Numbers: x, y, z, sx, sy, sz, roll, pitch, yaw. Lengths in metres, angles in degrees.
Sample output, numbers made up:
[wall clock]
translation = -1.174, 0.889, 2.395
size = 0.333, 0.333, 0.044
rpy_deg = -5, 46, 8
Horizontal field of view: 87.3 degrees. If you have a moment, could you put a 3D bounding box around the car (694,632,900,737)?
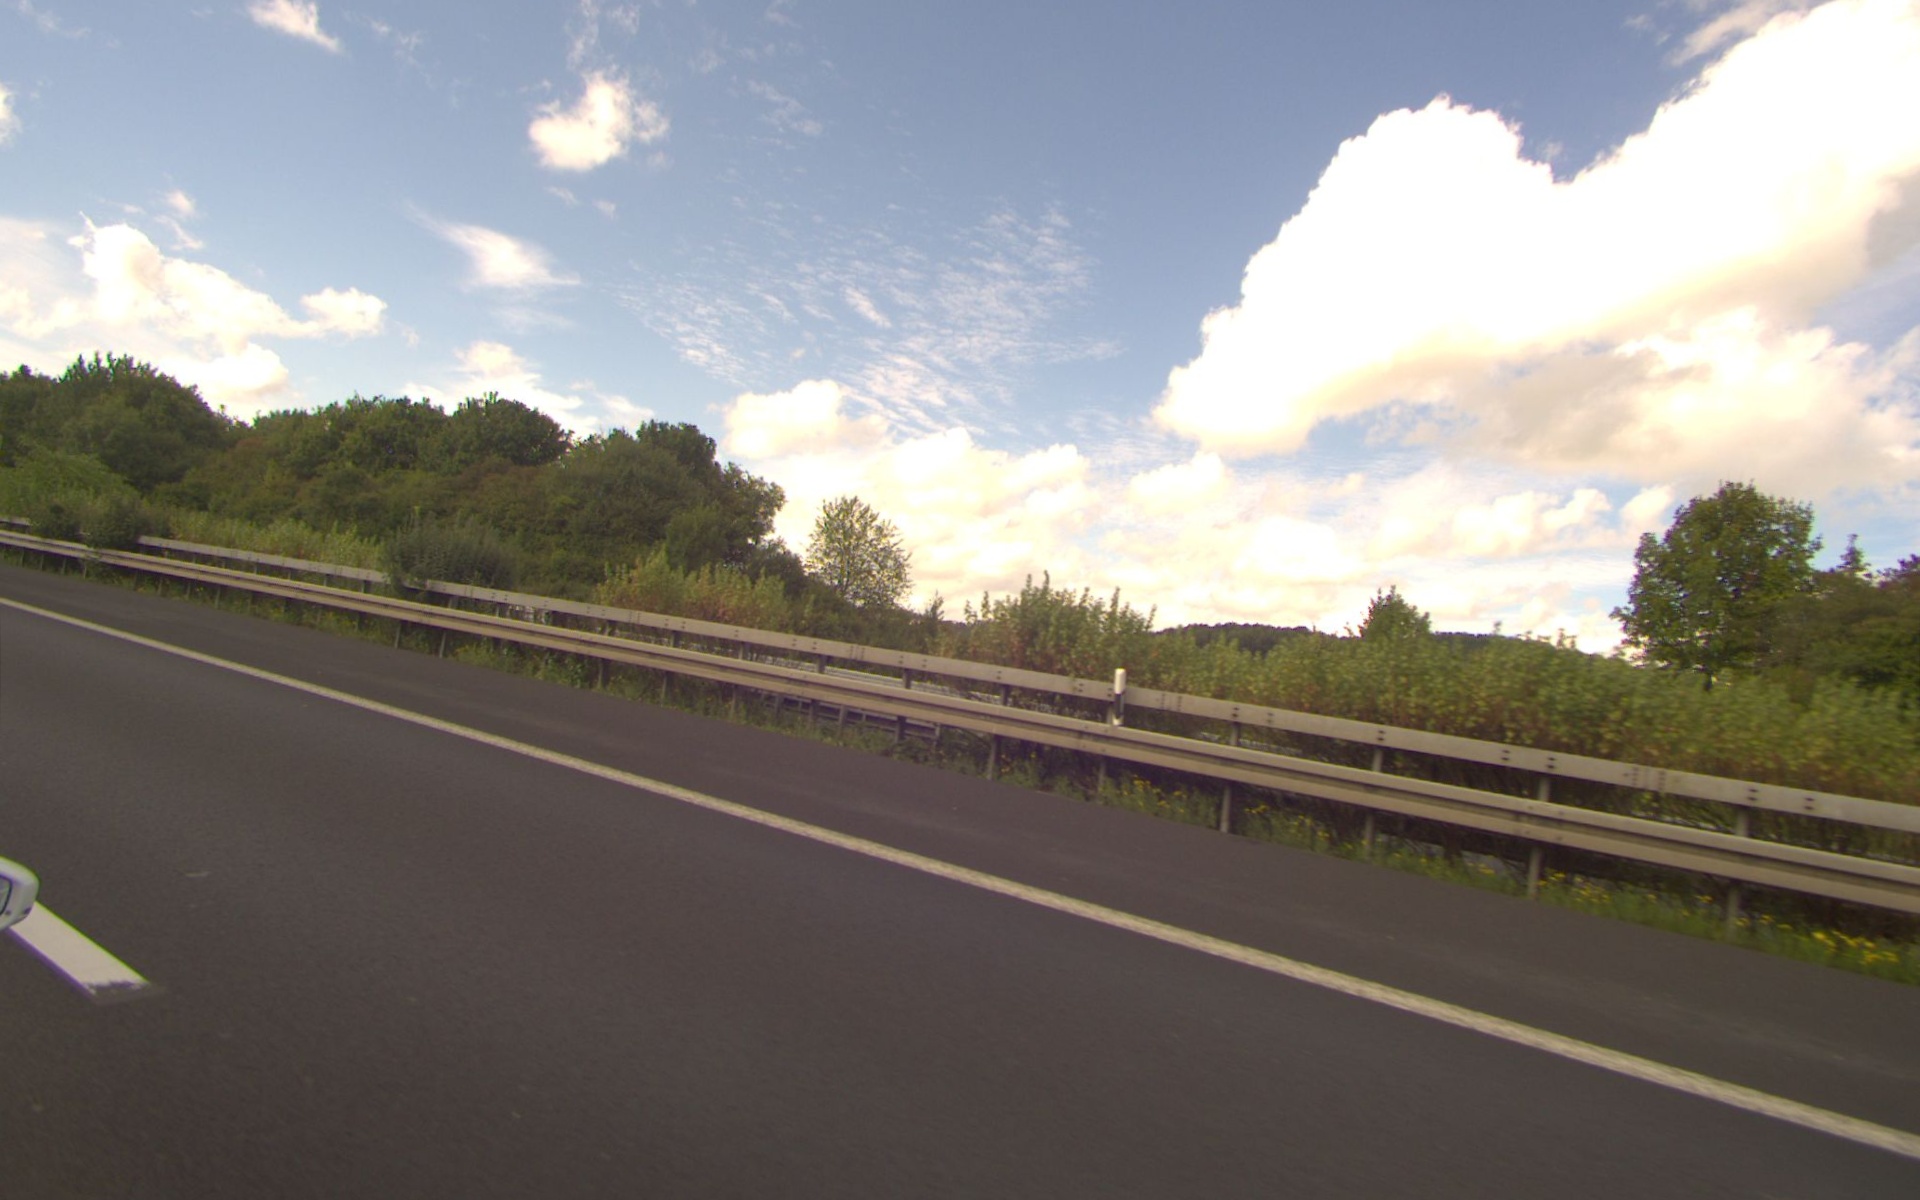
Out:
[car]
translation = -3.465, 1.758, 21.192
size = 3.959, 1.589, 1.787
rpy_deg = 6, -2, 33
